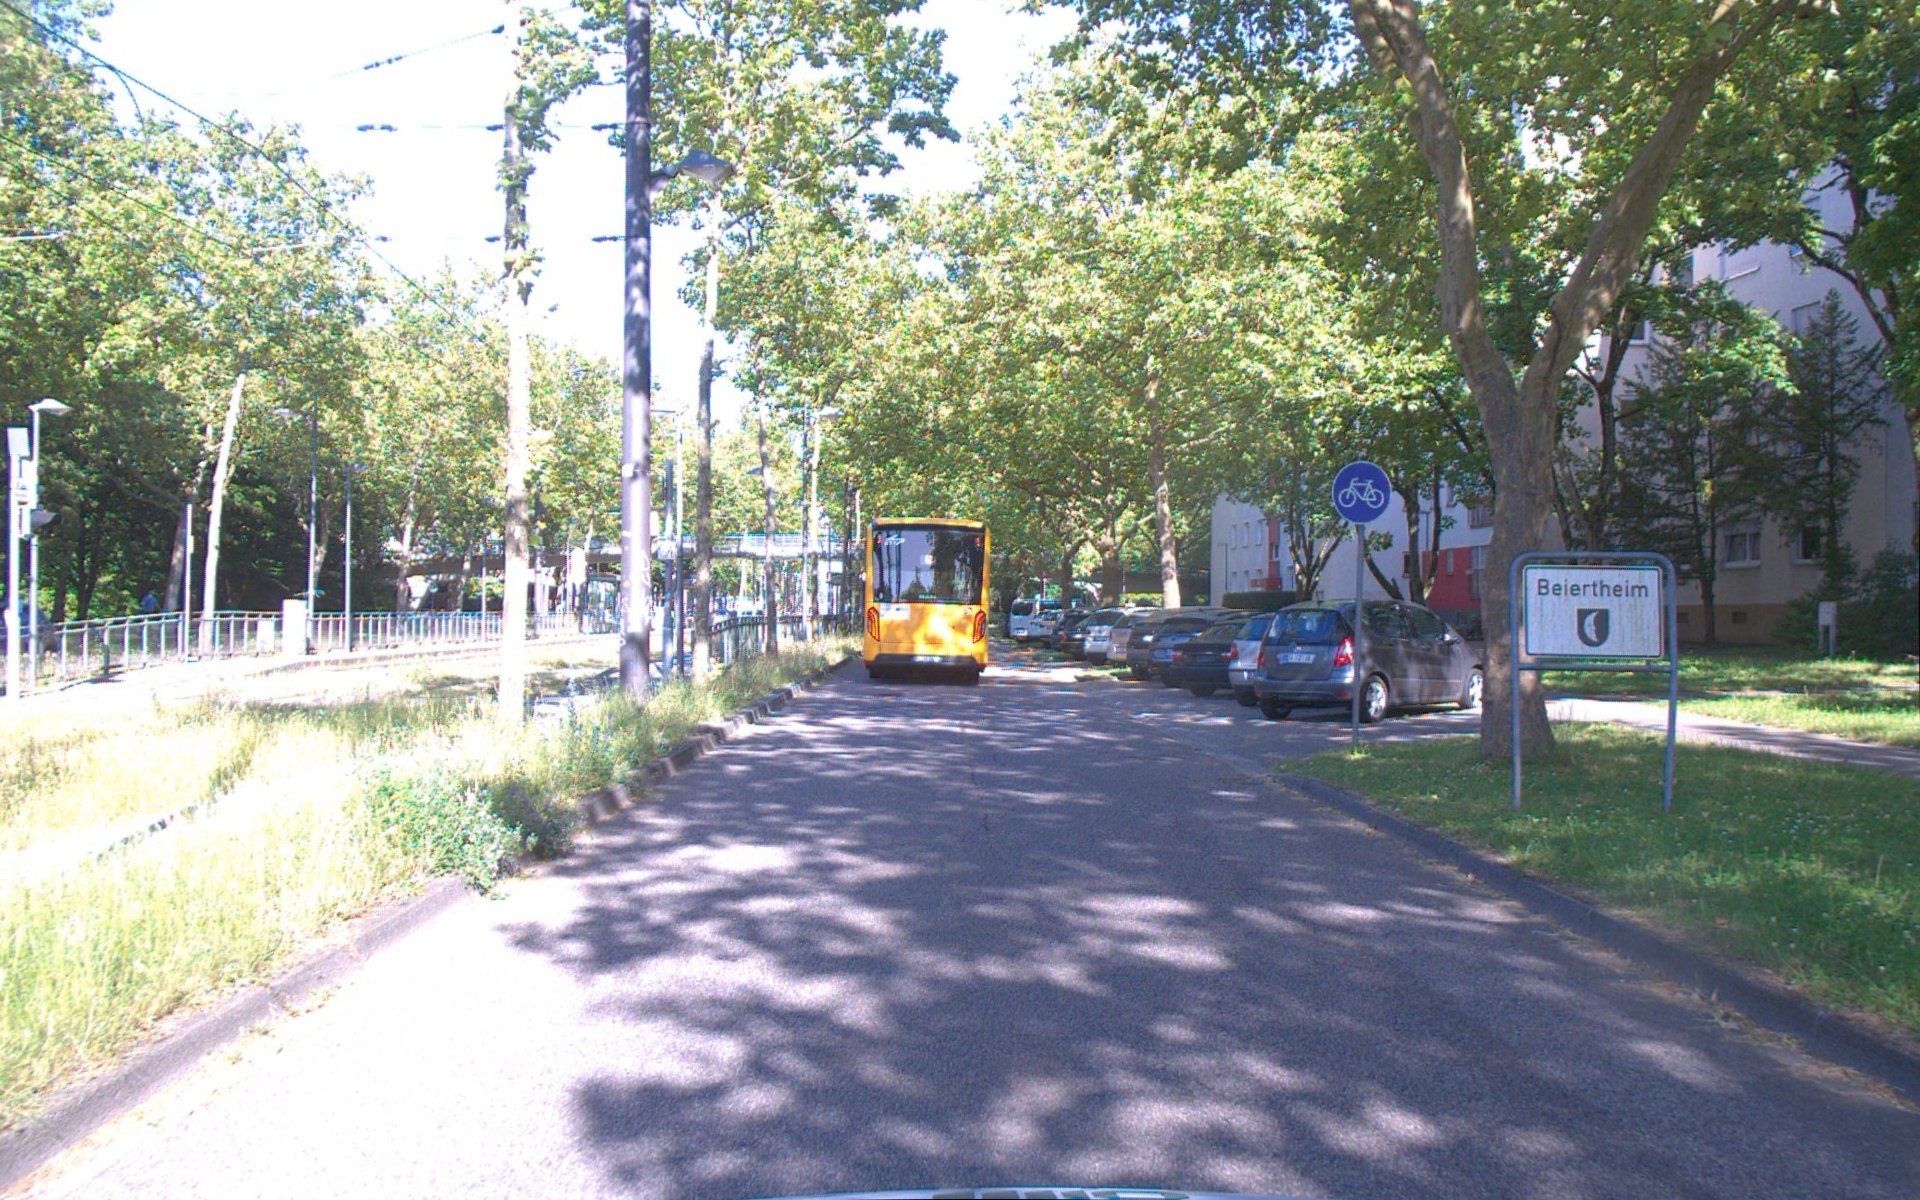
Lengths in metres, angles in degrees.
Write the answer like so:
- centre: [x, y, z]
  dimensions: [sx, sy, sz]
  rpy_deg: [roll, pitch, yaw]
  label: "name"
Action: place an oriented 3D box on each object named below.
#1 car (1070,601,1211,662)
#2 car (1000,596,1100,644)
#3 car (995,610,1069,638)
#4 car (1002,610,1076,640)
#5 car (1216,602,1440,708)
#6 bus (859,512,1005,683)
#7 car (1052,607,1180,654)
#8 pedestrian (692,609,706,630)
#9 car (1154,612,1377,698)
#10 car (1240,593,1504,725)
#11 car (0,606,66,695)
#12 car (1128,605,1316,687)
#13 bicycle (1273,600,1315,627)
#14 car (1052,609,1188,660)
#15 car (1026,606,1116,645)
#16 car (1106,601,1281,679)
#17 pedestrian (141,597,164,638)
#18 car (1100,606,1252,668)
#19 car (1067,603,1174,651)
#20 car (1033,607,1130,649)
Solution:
- centre: [5.114, 0.865, 46.639]
  dimensions: [3.966, 1.603, 1.772]
  rpy_deg: [-1, 0, -42]
  label: "car"
- centre: [4.210, 0.927, 76.785]
  dimensions: [4.550, 2.088, 1.987]
  rpy_deg: [-1, -1, -42]
  label: "car"
- centre: [4.212, 1.397, 96.243]
  dimensions: [4.220, 1.487, 1.773]
  rpy_deg: [-1, -1, -42]
  label: "car"
- centre: [4.323, 1.358, 90.033]
  dimensions: [3.970, 1.493, 1.753]
  rpy_deg: [-1, -1, -45]
  label: "car"
- centre: [5.852, 0.819, 26.119]
  dimensions: [3.556, 1.518, 1.771]
  rpy_deg: [-1, 0, -43]
  label: "car"
- centre: [-0.759, 0.016, 38.563]
  dimensions: [2.841, 3.324, 12.211]
  rpy_deg: [1, -1, -2]
  label: "bus"
- centre: [5.438, 1.046, 57.349]
  dimensions: [4.369, 1.453, 1.923]
  rpy_deg: [-2, -1, -41]
  label: "car"
- centre: [-16.168, 1.189, 102.348]
  dimensions: [0.762, 1.259, 0.721]
  rpy_deg: [1, -1, -3]
  label: "pedestrian"
- centre: [5.457, 0.928, 29.283]
  dimensions: [4.111, 1.341, 1.772]
  rpy_deg: [-1, 0, -42]
  label: "car"
- centre: [5.704, 0.750, 22.708]
  dimensions: [3.695, 1.620, 1.772]
  rpy_deg: [-1, 0, -43]
  label: "car"
- centre: [-18.479, 0.929, 30.461]
  dimensions: [1.758, 1.636, 4.266]
  rpy_deg: [0, -1, -1]
  label: "car"
- centre: [5.246, 0.876, 32.812]
  dimensions: [1.770, 1.471, 3.860]
  rpy_deg: [-1, 0, 45]
  label: "car"
- centre: [15.395, 0.633, 76.264]
  dimensions: [1.760, 1.149, 0.549]
  rpy_deg: [-3, 0, -6]
  label: "bicycle"
- centre: [4.957, 1.038, 50.921]
  dimensions: [1.769, 1.447, 4.560]
  rpy_deg: [-1, 0, 43]
  label: "car"
- centre: [4.966, 1.120, 73.804]
  dimensions: [4.028, 1.608, 1.803]
  rpy_deg: [-1, -1, -45]
  label: "car"
- centre: [5.124, 0.833, 35.971]
  dimensions: [1.768, 1.537, 4.153]
  rpy_deg: [-1, 0, 41]
  label: "car"
- centre: [-33.748, 0.732, 69.117]
  dimensions: [0.635, 1.690, 0.650]
  rpy_deg: [1, -1, 0]
  label: "pedestrian"
- centre: [5.586, 0.918, 42.569]
  dimensions: [3.967, 1.469, 1.772]
  rpy_deg: [-1, 0, -43]
  label: "car"
- centre: [5.973, 0.999, 61.230]
  dimensions: [3.970, 1.617, 1.771]
  rpy_deg: [-1, -1, -44]
  label: "car"
- centre: [4.994, 1.128, 67.456]
  dimensions: [1.767, 1.537, 4.188]
  rpy_deg: [-2, -1, 41]
  label: "car"
